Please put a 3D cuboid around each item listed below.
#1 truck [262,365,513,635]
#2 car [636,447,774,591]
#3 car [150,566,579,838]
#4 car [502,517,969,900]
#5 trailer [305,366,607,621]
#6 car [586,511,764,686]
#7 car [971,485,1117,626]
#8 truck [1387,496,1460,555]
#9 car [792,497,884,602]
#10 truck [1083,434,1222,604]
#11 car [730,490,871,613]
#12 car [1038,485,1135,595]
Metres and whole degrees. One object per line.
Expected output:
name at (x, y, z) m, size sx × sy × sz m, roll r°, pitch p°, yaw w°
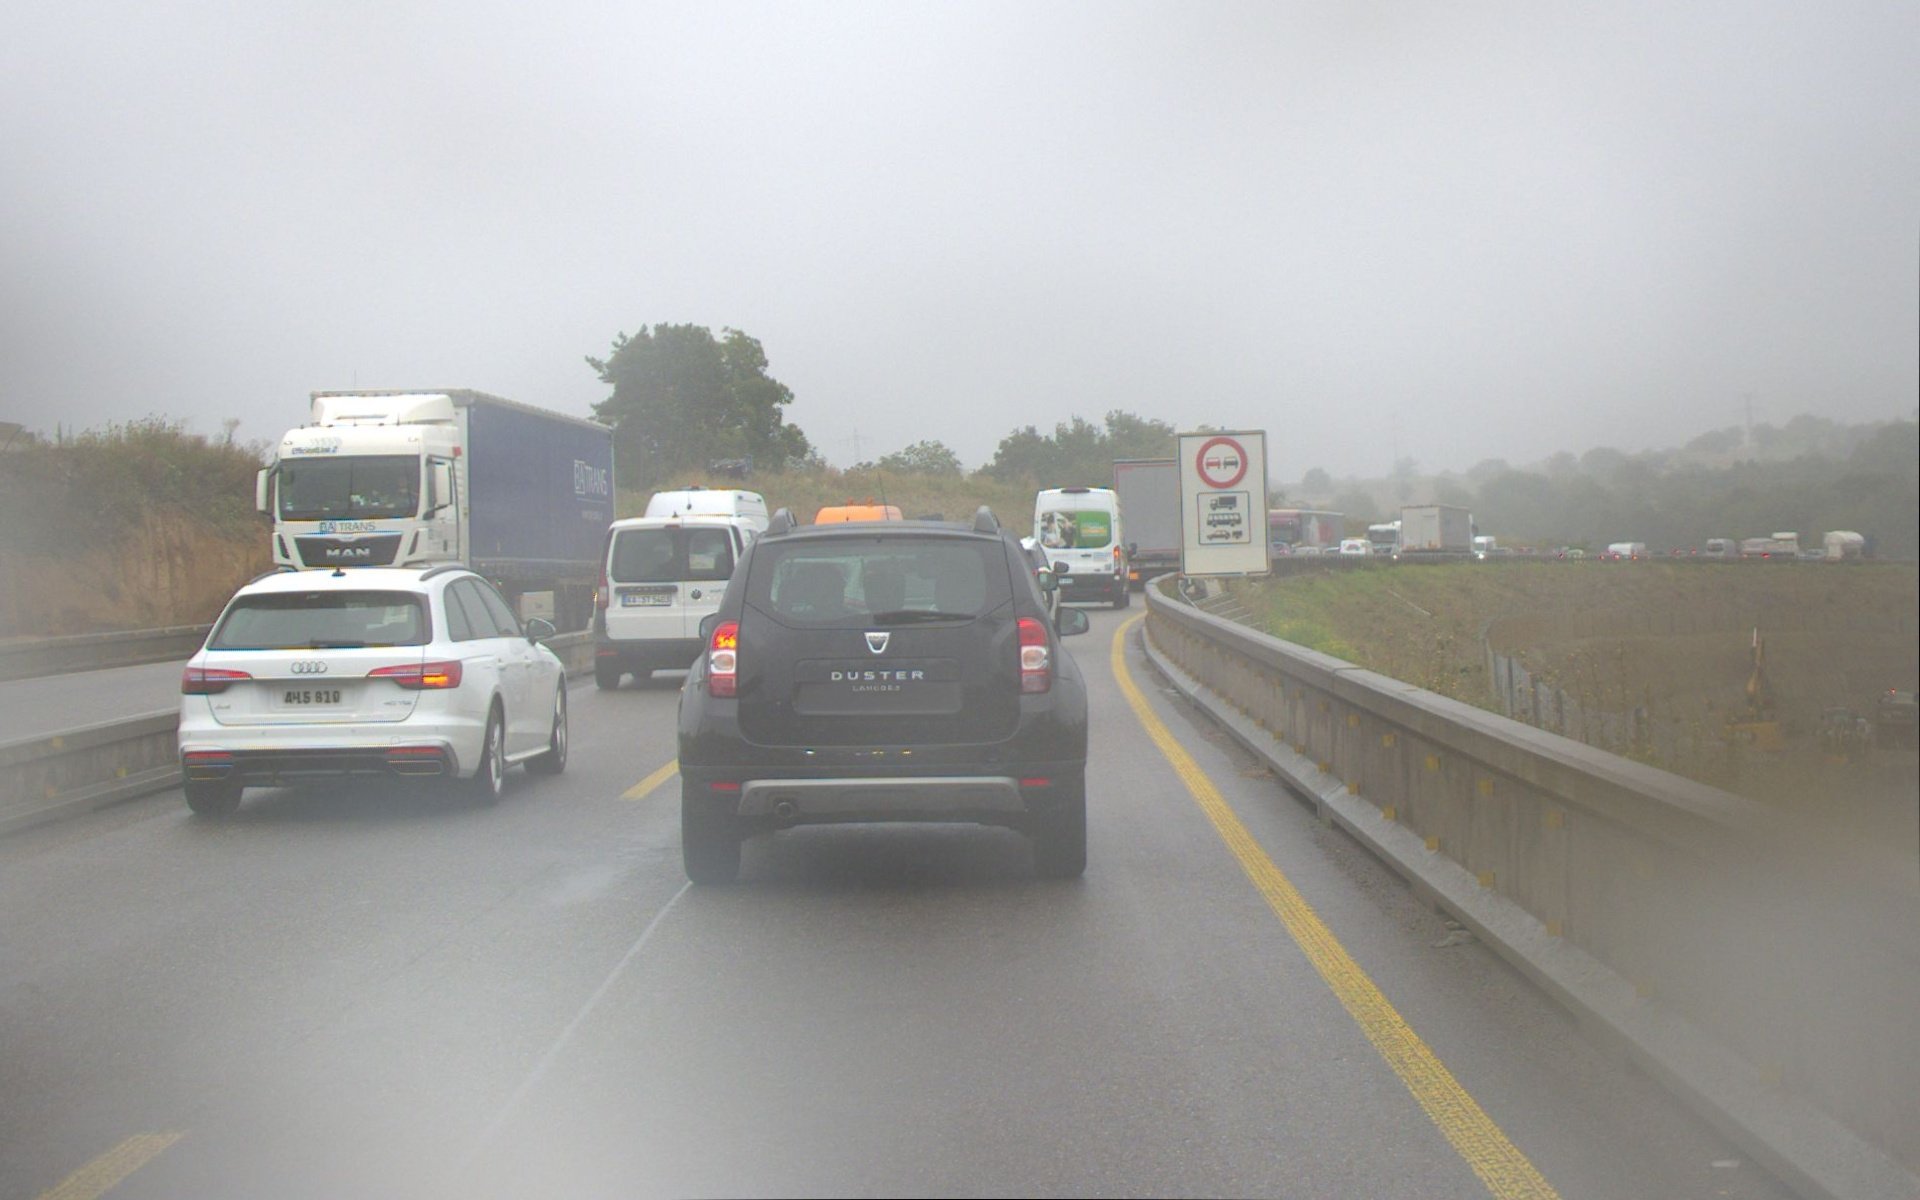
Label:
truck at (-8.977, -1.587, 54.530) m, size 2.788 × 4.021 × 5.820 m, roll 0°, pitch 2°, yaw 2°
car at (-4.905, -1.603, 67.126) m, size 2.006 × 2.644 × 6.884 m, roll 0°, pitch 2°, yaw 1°
car at (-3.527, 0.557, 21.072) m, size 1.826 × 1.494 × 4.000 m, roll 0°, pitch 0°, yaw 2°
car at (-0.932, 0.442, 16.329) m, size 1.826 × 1.585 × 4.000 m, roll 0°, pitch 0°, yaw 2°
trailer at (-8.687, -1.888, 61.344) m, size 2.779 × 4.021 × 13.741 m, roll 0°, pitch 2°, yaw 2°
car at (-3.089, -0.025, 37.708) m, size 1.826 × 1.809 × 4.001 m, roll 0°, pitch 0°, yaw -4°
car at (1.177, -0.587, 46.495) m, size 1.826 × 1.809 × 4.000 m, roll 0°, pitch 0°, yaw 3°
truck at (30.383, -4.915, 224.921) m, size 3.475 × 3.702 × 8.411 m, roll -1°, pitch 1°, yaw 16°
car at (-3.082, -1.331, 88.166) m, size 2.054 × 2.568 × 7.021 m, roll 0°, pitch 1°, yaw 0°
truck at (6.183, -2.465, 108.528) m, size 3.545 × 5.060 × 10.438 m, roll 0°, pitch 0°, yaw 8°
car at (-2.412, -0.727, 52.851) m, size 1.826 × 1.809 × 4.000 m, roll 0°, pitch 0°, yaw 2°
car at (2.939, -1.354, 79.075) m, size 1.827 × 2.429 × 4.156 m, roll 0°, pitch 0°, yaw 8°
